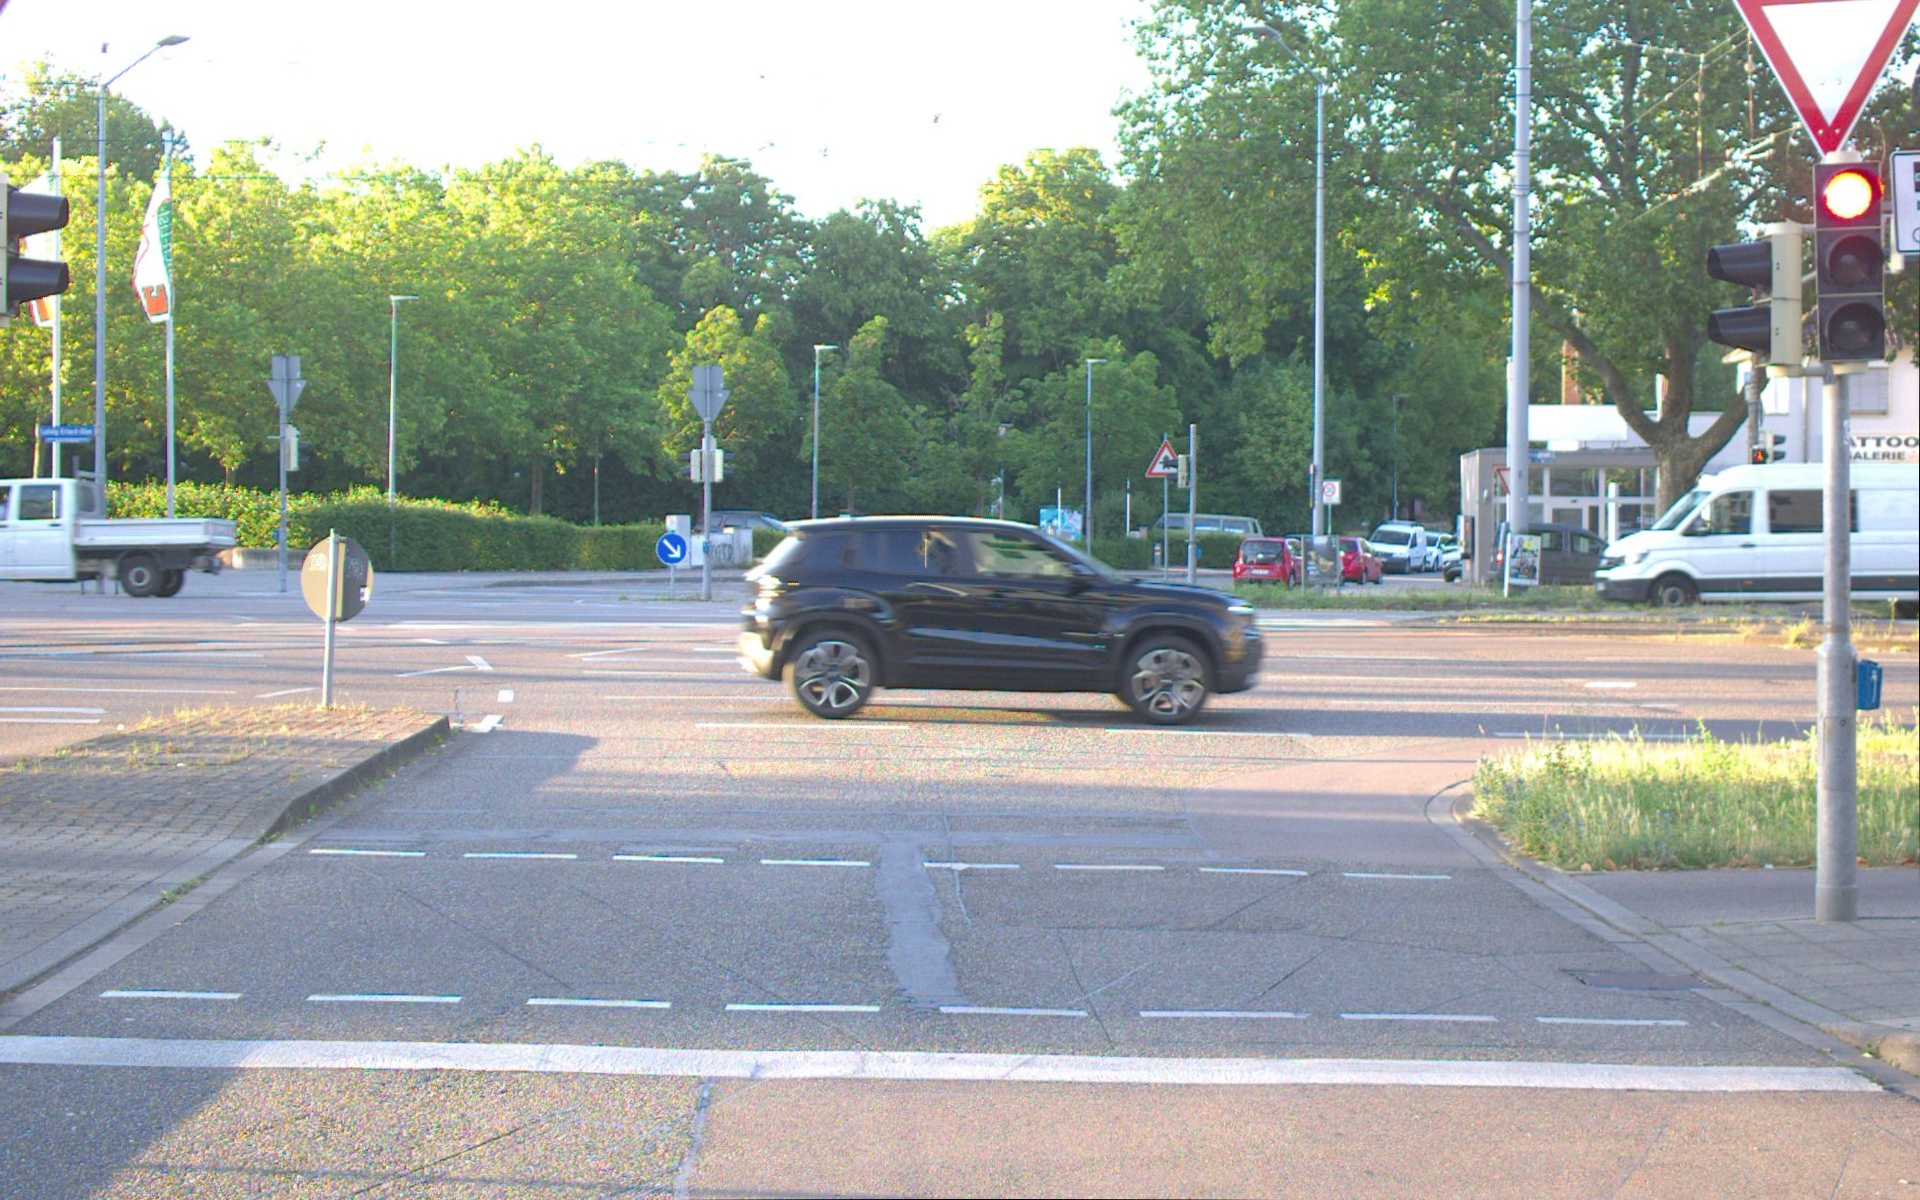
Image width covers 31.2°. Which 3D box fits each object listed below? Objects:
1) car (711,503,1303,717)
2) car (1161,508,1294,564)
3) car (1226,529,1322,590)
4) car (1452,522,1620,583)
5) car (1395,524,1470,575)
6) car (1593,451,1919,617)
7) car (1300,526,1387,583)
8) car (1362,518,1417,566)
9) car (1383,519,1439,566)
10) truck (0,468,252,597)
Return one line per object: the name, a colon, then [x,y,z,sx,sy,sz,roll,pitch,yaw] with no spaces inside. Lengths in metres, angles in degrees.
car: [0.293,0.058,26.802,4.433,1.568,2.000,0,1,-4]
car: [9.775,-2.335,125.871,4.774,1.999,2.000,0,0,2]
car: [8.769,-1.111,95.684,1.995,1.656,3.997,1,0,15]
car: [14.905,-1.227,89.165,4.220,1.547,1.999,1,0,7]
car: [15.914,-1.691,115.595,1.995,1.656,3.997,1,0,15]
car: [14.171,-1.062,56.669,6.918,2.627,2.811,0,0,0]
car: [11.549,-1.351,103.370,1.995,1.656,3.997,1,0,15]
car: [16.419,-2.206,131.186,1.864,1.788,3.998,1,0,10]
car: [17.874,-2.269,136.080,1.864,1.788,3.998,1,0,12]
truck: [-14.675,-1.125,56.815,5.556,2.047,2.068,1,1,-2]
